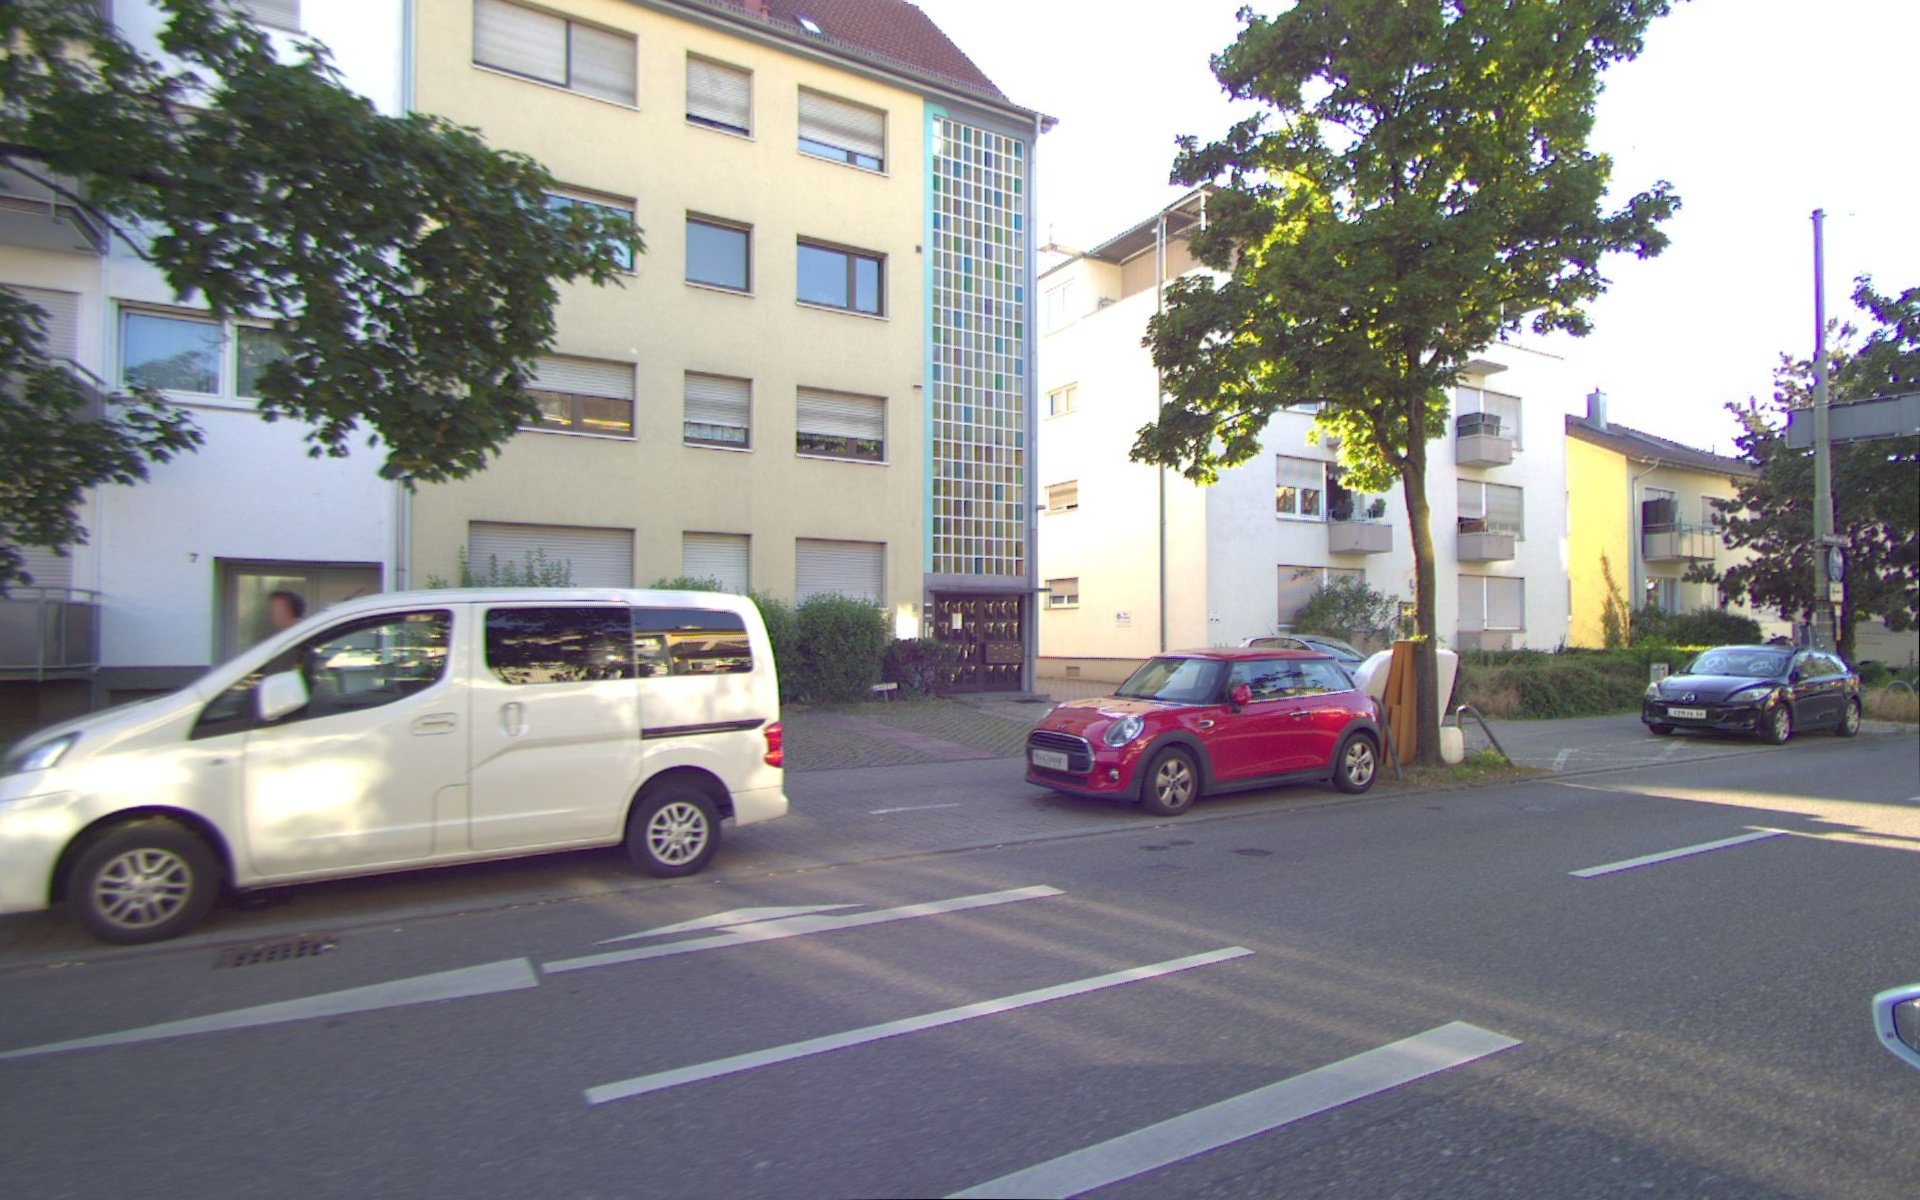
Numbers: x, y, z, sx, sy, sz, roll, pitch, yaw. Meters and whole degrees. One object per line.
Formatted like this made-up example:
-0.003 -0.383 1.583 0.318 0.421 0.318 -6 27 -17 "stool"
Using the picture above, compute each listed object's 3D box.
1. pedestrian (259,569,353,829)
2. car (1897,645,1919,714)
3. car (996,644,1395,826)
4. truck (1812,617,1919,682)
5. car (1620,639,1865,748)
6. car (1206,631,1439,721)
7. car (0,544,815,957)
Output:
-5.397 0.786 8.323 0.609 2.040 0.623 1 -2 -31 "pedestrian"
22.356 1.702 21.819 4.373 1.439 1.746 1 -2 -30 "car"
2.379 1.181 9.971 3.743 1.439 1.708 1 -2 -31 "car"
31.607 1.684 34.768 1.528 2.121 2.899 1 -2 -31 "truck"
12.589 1.402 16.107 4.199 1.517 1.708 1 -2 -31 "car"
7.035 1.403 19.846 1.979 1.498 3.963 1 -1 -34 "car"
-3.319 0.756 6.492 4.408 1.944 1.761 1 -2 -31 "car"
